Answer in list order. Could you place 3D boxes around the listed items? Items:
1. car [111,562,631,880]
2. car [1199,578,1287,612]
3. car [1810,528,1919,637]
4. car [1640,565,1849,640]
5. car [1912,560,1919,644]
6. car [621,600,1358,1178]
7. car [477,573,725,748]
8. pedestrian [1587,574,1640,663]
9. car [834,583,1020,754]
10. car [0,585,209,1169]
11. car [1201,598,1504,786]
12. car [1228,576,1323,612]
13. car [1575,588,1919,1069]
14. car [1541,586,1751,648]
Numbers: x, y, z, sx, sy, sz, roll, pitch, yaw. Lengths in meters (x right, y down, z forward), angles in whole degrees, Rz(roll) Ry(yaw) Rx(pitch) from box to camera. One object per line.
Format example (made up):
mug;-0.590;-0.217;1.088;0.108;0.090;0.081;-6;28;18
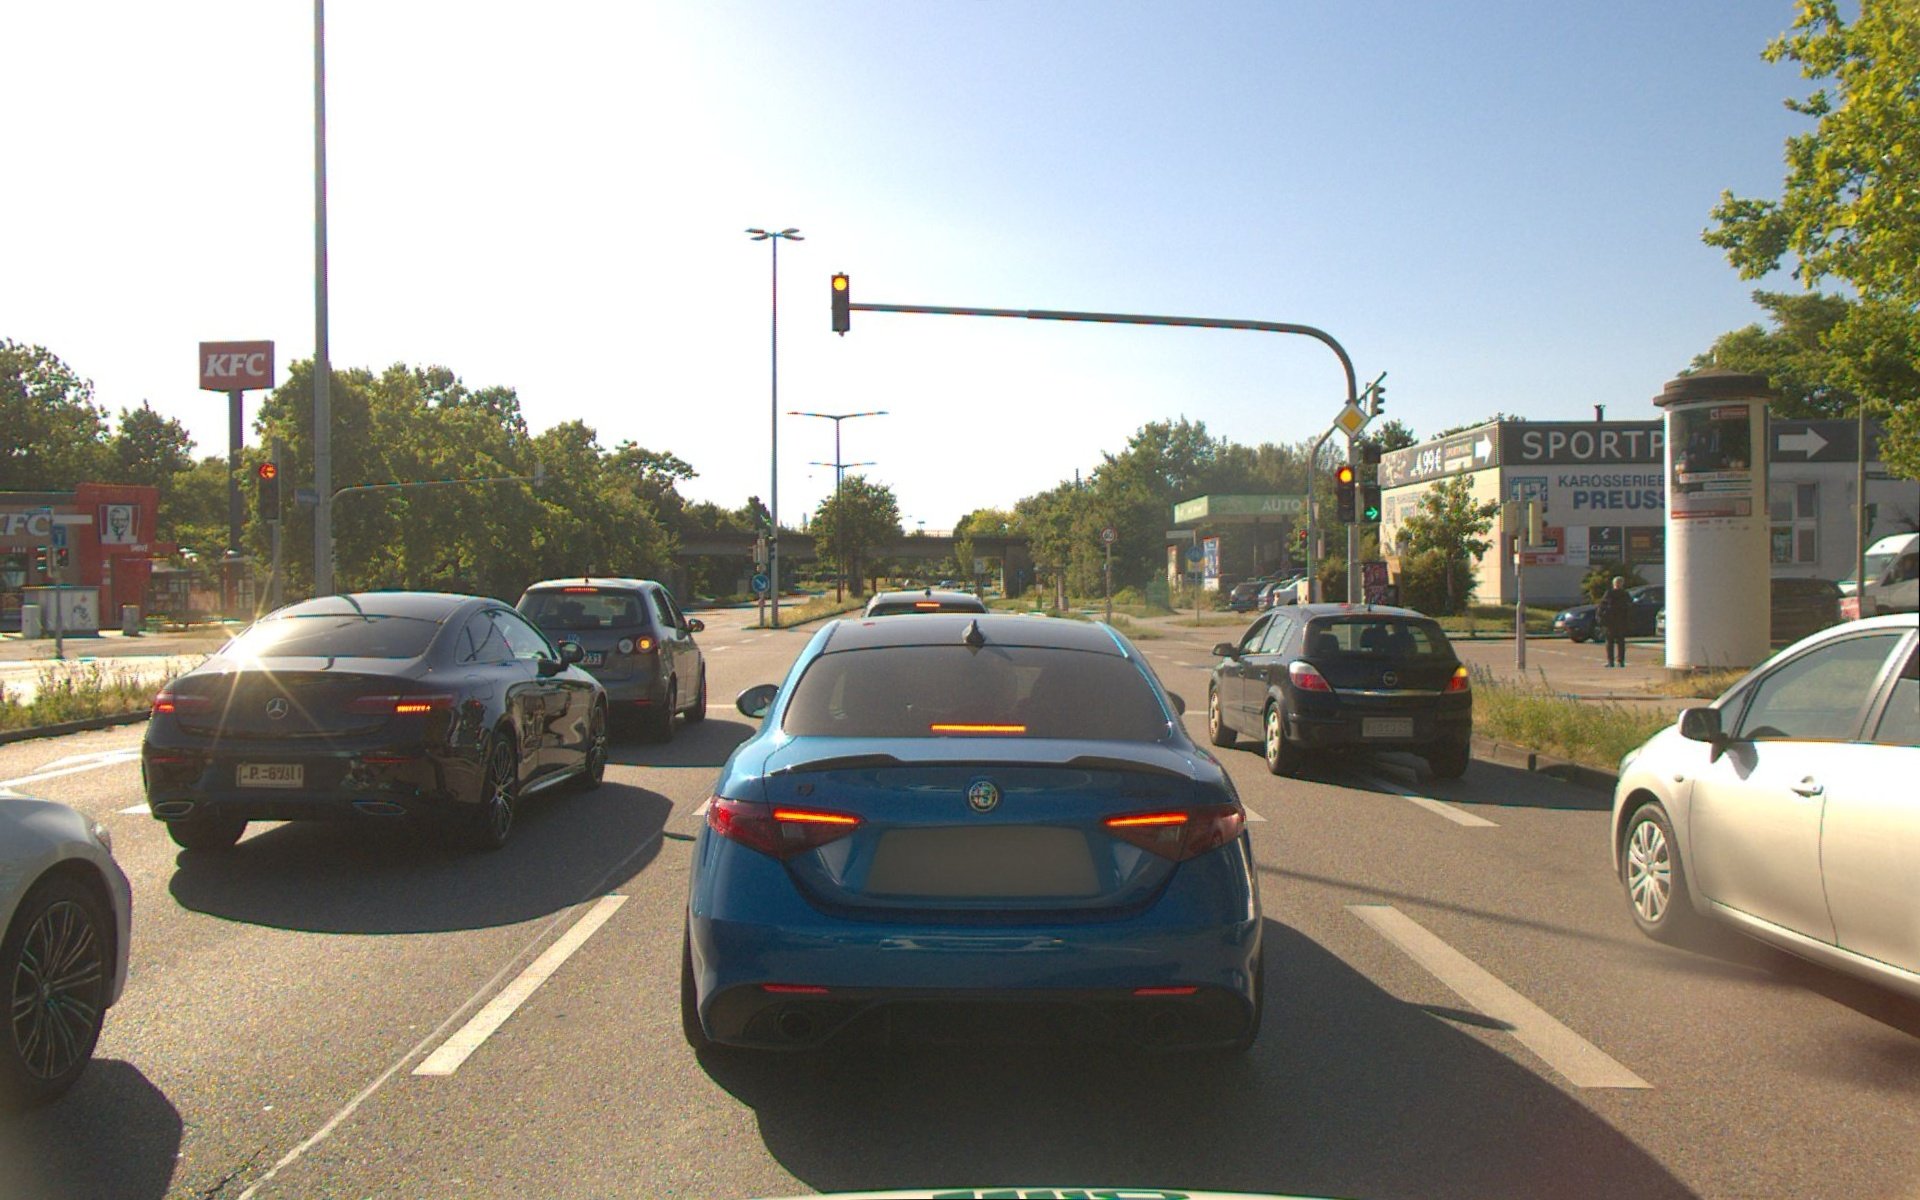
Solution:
car;-3.399;0.595;10.555;1.775;1.578;4.542;1;0;-1
car;14.299;-0.246;83.508;3.925;1.579;1.990;1;0;-18
car;25.465;-0.488;42.937;5.715;2.719;2.000;-1;-1;0
car;18.686;0.063;39.484;4.219;1.678;1.637;1;0;-2
car;26.094;0.024;40.212;4.854;2.071;1.880;-1;0;-2
car;0.105;0.750;6.110;1.870;1.447;3.719;1;0;1
car;-3.596;0.566;17.356;1.776;1.578;4.351;1;0;-2
pedestrian;12.659;0.363;32.043;0.800;1.698;0.514;1;-1;-1
car;-0.273;0.634;16.920;1.669;1.523;3.719;1;0;1
car;-3.366;0.720;3.158;1.775;1.512;4.596;0;0;0
car;3.463;0.734;15.421;1.699;1.467;4.370;1;0;-1
car;14.249;-0.262;74.914;3.905;1.579;2.000;1;0;0
car;4.003;0.756;6.251;1.747;1.564;4.107;1;0;-1
car;17.702;0.428;42.788;4.722;1.493;1.758;1;0;-3
